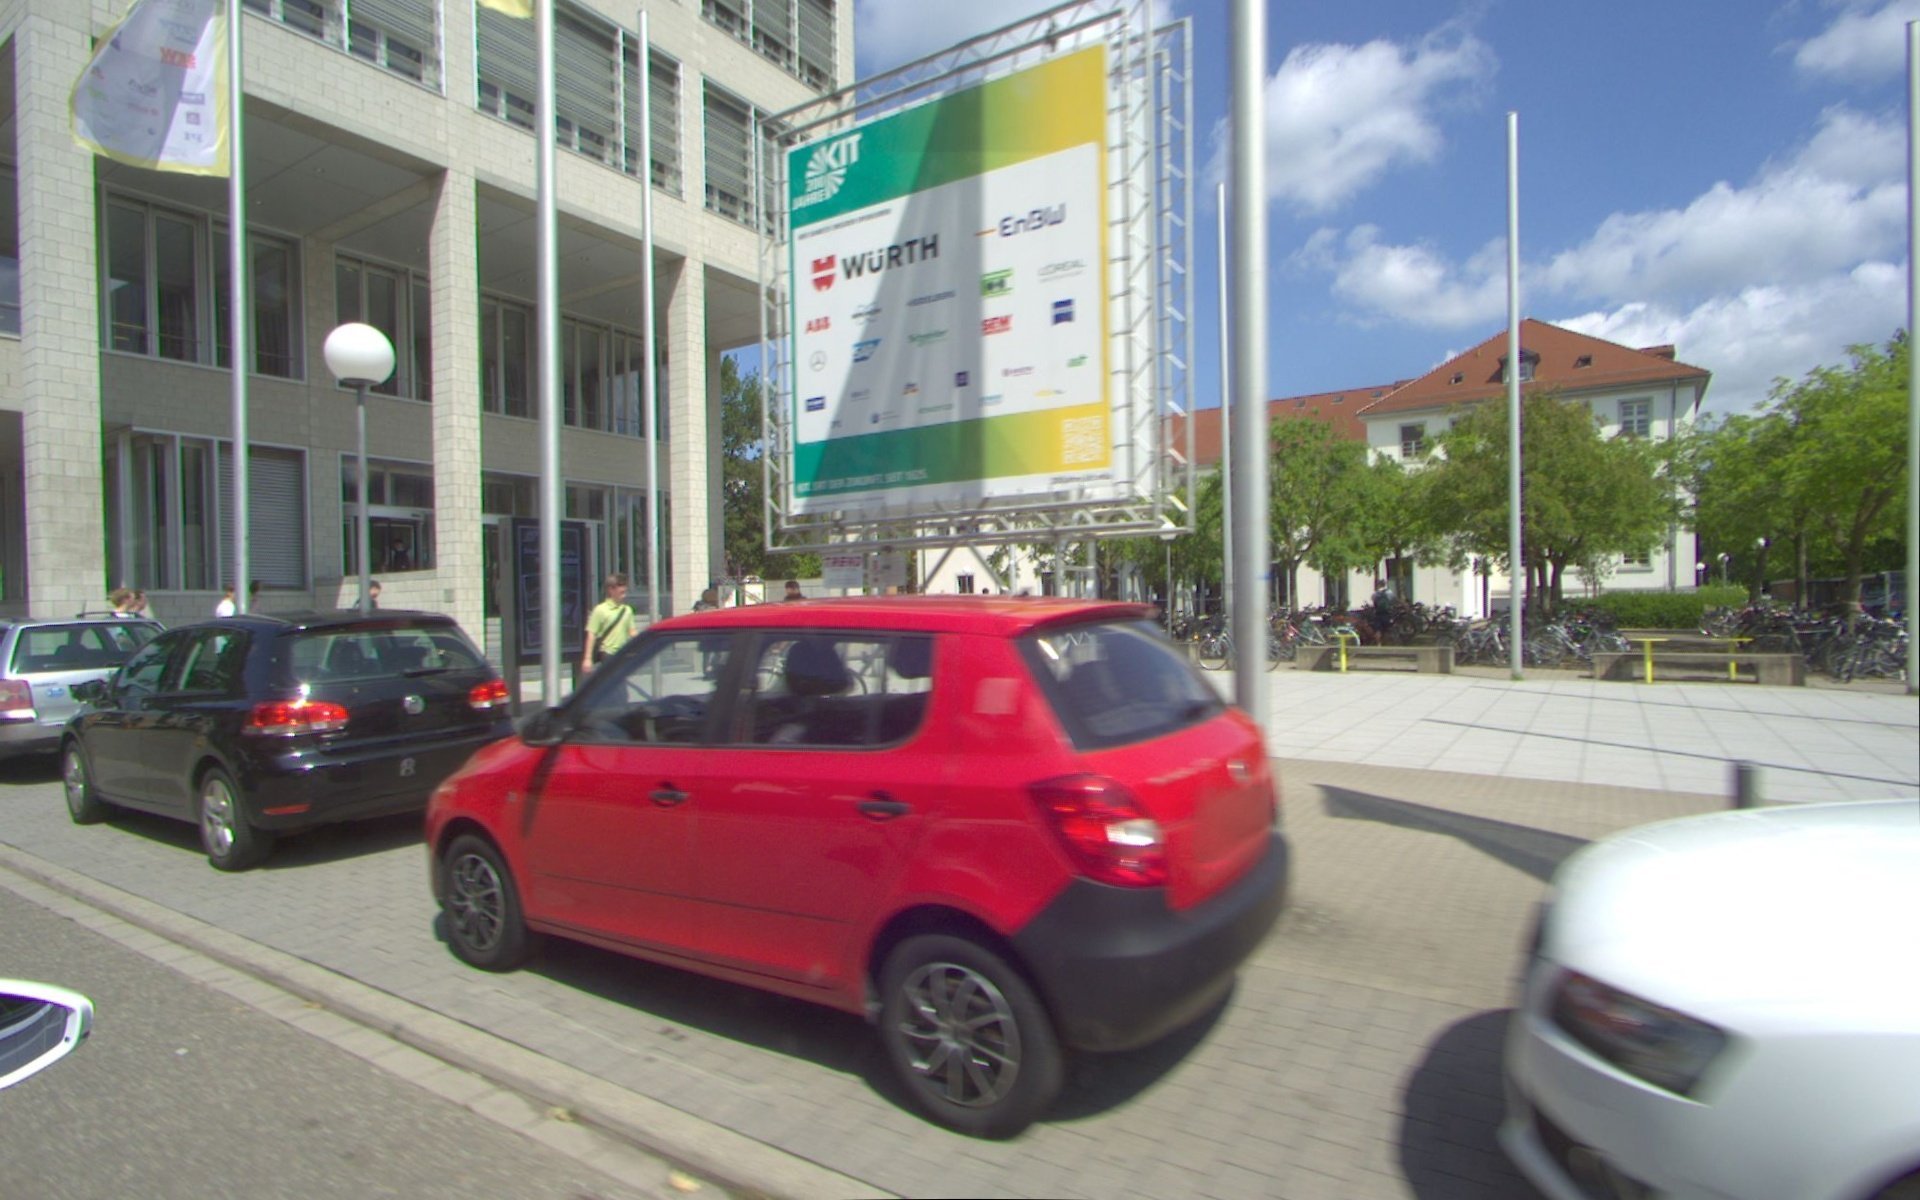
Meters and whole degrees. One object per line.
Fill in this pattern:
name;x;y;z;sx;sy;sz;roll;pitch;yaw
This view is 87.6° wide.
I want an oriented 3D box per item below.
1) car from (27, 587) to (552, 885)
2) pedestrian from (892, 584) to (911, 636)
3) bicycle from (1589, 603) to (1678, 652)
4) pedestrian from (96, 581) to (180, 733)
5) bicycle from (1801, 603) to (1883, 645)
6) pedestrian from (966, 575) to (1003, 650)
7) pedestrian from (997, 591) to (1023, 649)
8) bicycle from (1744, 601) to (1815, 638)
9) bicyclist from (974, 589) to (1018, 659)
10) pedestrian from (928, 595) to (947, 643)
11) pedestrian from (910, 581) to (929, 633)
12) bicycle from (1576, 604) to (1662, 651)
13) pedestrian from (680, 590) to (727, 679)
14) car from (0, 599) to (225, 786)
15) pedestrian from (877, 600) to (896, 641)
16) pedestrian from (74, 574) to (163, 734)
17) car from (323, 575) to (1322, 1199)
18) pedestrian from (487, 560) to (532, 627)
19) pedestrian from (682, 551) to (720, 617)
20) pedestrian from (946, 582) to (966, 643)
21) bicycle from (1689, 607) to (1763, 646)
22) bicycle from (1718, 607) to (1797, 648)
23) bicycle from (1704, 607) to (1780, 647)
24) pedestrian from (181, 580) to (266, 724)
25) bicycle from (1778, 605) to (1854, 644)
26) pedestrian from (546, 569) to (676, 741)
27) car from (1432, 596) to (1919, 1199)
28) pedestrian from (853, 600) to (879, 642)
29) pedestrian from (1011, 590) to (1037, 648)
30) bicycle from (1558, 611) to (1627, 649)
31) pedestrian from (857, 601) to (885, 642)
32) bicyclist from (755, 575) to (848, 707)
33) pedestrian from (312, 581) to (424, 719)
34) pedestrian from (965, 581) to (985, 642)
car;-4.878;0.755;7.135;3.945;1.550;1.714;-1;1;34
pedestrian;-2.565;0.446;44.031;0.702;2.258;0.634;-2;-1;3
bicycle;16.671;0.682;24.811;1.733;1.113;0.604;-3;-1;3
pedestrian;-10.947;0.734;13.370;0.774;1.951;0.730;-1;0;-34
bicycle;25.485;0.692;28.960;1.733;1.113;0.604;-3;-1;3
pedestrian;0.756;0.383;30.775;0.842;2.258;0.631;-2;-1;-29
pedestrian;1.554;0.621;31.255;0.622;1.769;0.716;-2;-1;-7
bicycle;26.477;0.619;32.362;1.733;1.113;0.604;-3;-1;3
bicyclist;0.820;0.540;23.086;0.672;1.590;0.875;0;1;-28
pedestrian;-0.850;0.715;38.368;0.622;1.800;0.716;-2;-1;3
pedestrian;-1.806;0.329;44.508;0.702;2.258;0.634;-2;-1;5
bicycle;16.777;0.709;25.514;1.733;1.113;0.604;-3;-1;3
pedestrian;-4.877;0.650;19.085;0.724;1.661;0.691;-1;0;-5
car;-9.702;0.826;10.360;4.499;1.550;1.716;-1;1;31
pedestrian;-2.732;0.758;37.084;0.622;1.455;0.716;-2;-1;-3
pedestrian;-10.617;0.657;12.659;0.776;1.951;0.589;-1;0;-34
car;-0.797;0.722;4.198;4.090;1.517;1.609;-1;2;34
pedestrian;-11.237;-0.153;24.978;0.707;1.605;0.715;-3;-1;36
pedestrian;-7.460;-0.446;28.810;0.707;1.821;0.715;-3;-1;36
pedestrian;-0.156;0.479;38.256;0.622;2.258;0.716;-2;-1;3
bicycle;23.504;0.826;30.739;1.733;1.113;0.604;-3;-1;3
bicycle;23.343;0.796;29.317;1.733;1.113;0.604;-3;-1;3
bicycle;23.441;0.796;30.034;1.733;1.113;0.604;-3;-1;3
pedestrian;-10.318;0.711;14.038;0.741;1.951;0.722;-1;0;33
bicycle;26.539;0.769;31.057;1.733;1.113;0.604;-3;-1;3
pedestrian;-3.801;0.578;10.916;0.988;1.763;0.915;-1;0;34
car;3.174;0.711;1.362;4.378;1.419;1.713;-1;2;34
pedestrian;-3.551;0.791;37.811;0.626;1.517;0.712;-2;-1;-34
pedestrian;1.993;0.601;31.241;0.622;1.769;0.716;-2;-1;-7
bicycle;20.055;0.956;31.748;1.733;1.113;0.604;-3;-1;3
pedestrian;-3.242;0.795;36.443;0.708;1.449;0.629;-2;-1;-38
bicyclist;-1.980;0.497;12.497;0.919;1.585;0.660;-1;1;28
pedestrian;-8.737;0.710;14.803;1.007;1.945;1.092;-1;0;34
pedestrian;0.574;0.443;38.215;0.622;2.258;0.716;-2;-1;3
